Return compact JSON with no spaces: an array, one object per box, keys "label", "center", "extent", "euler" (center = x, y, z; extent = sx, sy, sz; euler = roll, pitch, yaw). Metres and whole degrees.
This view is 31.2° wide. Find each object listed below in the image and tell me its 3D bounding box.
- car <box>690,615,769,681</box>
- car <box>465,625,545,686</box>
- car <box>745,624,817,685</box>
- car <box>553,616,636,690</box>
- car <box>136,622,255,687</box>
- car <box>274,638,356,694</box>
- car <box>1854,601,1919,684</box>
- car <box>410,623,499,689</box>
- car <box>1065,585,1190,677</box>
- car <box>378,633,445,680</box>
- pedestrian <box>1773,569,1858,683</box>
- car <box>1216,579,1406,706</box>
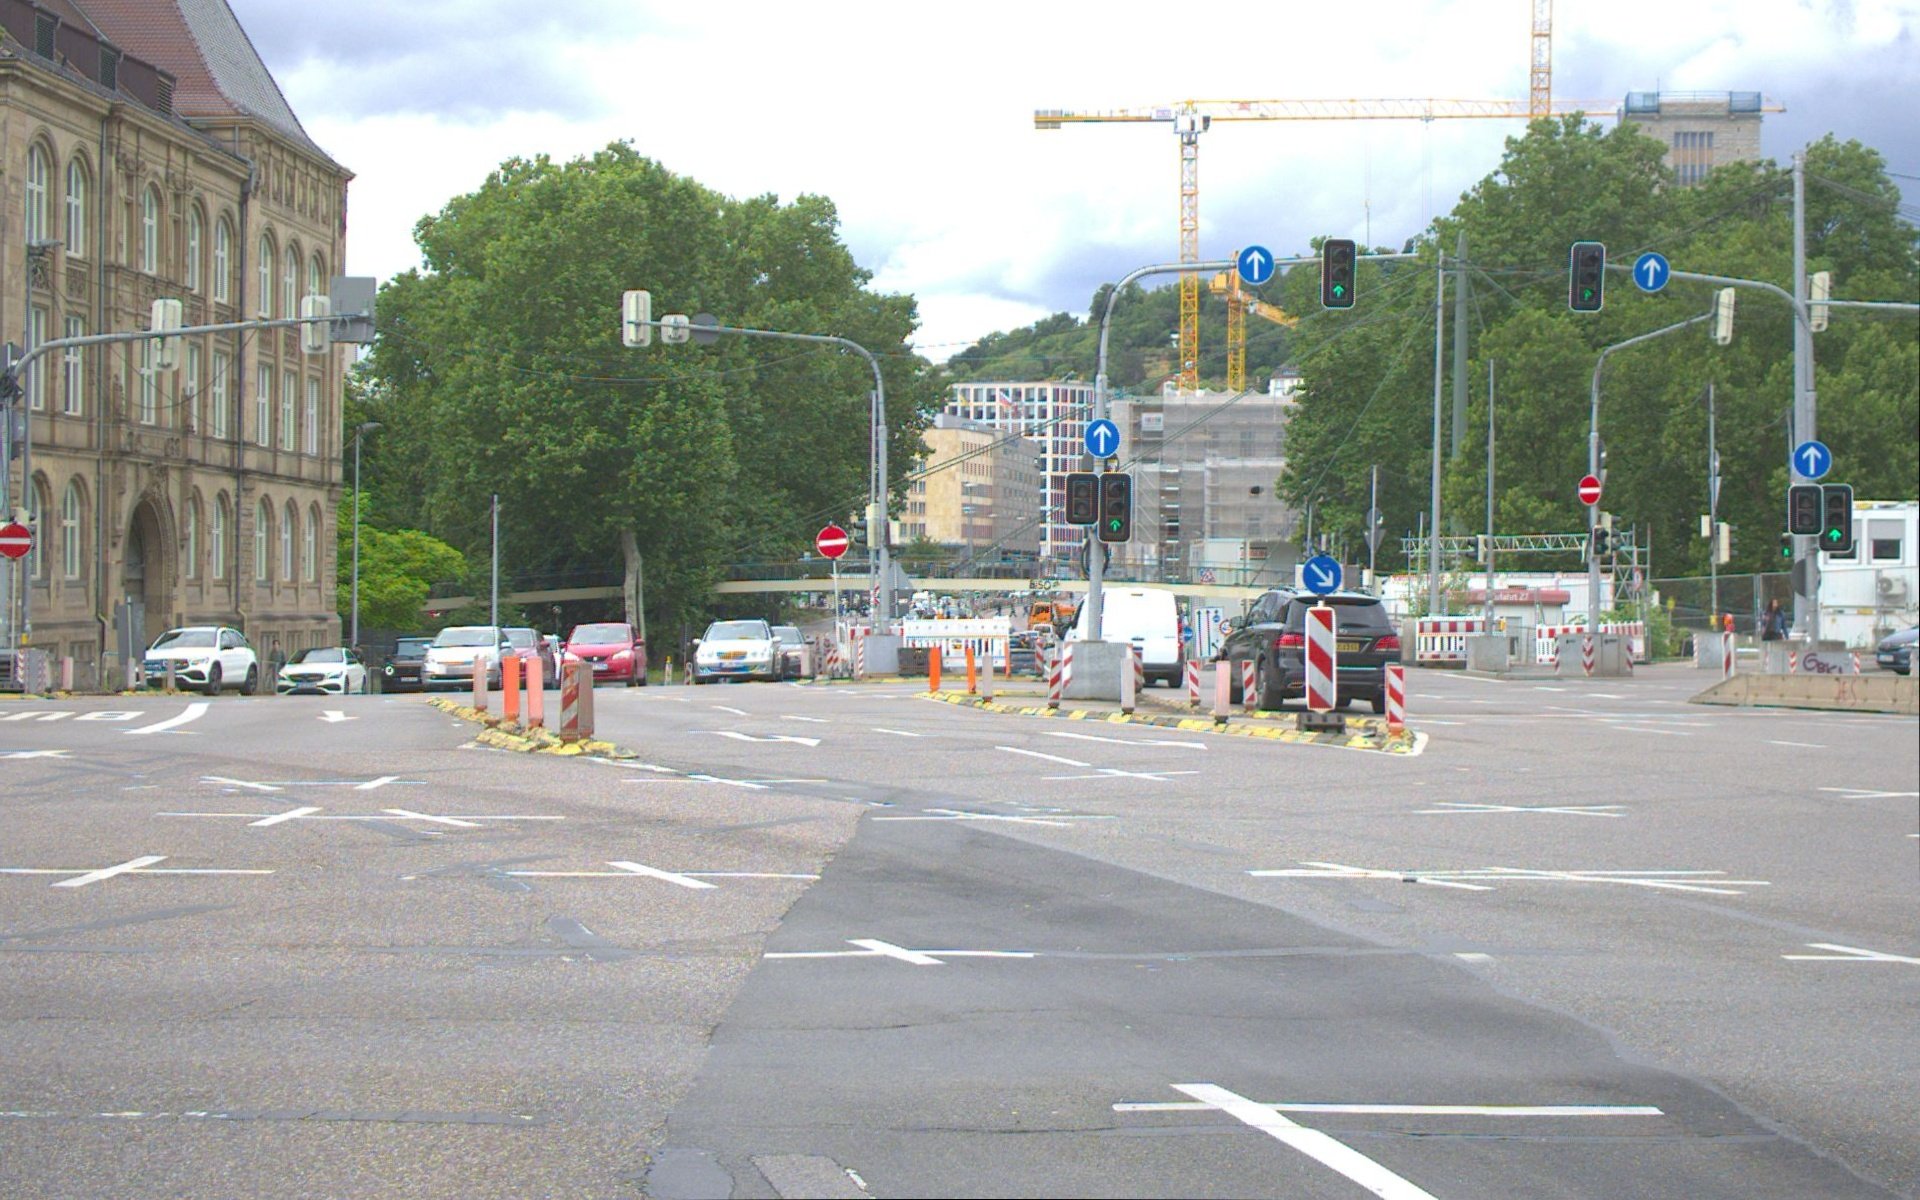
[{"label":"car","center":[-5.066,1.043,75.624],"extent":[1.676,1.393,3.683],"euler":[0,0,-4]},{"label":"car","center":[-10.940,1.312,82.806],"extent":[1.676,1.393,3.683],"euler":[0,0,-4]},{"label":"car","center":[-4.322,1.284,82.670],"extent":[1.676,1.393,3.683],"euler":[0,0,-4]},{"label":"car","center":[-8.015,1.144,75.584],"extent":[1.676,1.575,3.683],"euler":[0,0,-4]},{"label":"car","center":[-17.075,1.204,76.924],"extent":[1.676,1.393,3.683],"euler":[0,0,3]},{"label":"car","center":[-16.764,1.702,89.499],"extent":[1.676,1.393,3.683],"euler":[0,0,-4]},{"label":"car","center":[20.283,0.839,69.296],"extent":[3.986,1.619,1.823],"euler":[0,0,-16]},{"label":"car","center":[-11.241,1.233,76.653],"extent":[1.676,1.393,3.683],"euler":[0,0,-4]},{"label":"car","center":[3.034,0.542,63.067],"extent":[1.816,1.619,4.001],"euler":[0,0,-4]},{"label":"car","center":[-16.855,1.725,105.773],"extent":[1.676,1.393,3.683],"euler":[0,0,-4]},{"label":"pedestrian","center":[15.197,0.452,61.125],"extent":[1.094,2.007,1.185],"euler":[0,0,-9]},{"label":"car","center":[5.000,0.577,49.552],"extent":[1.831,1.740,4.256],"euler":[0,0,-7]}]
